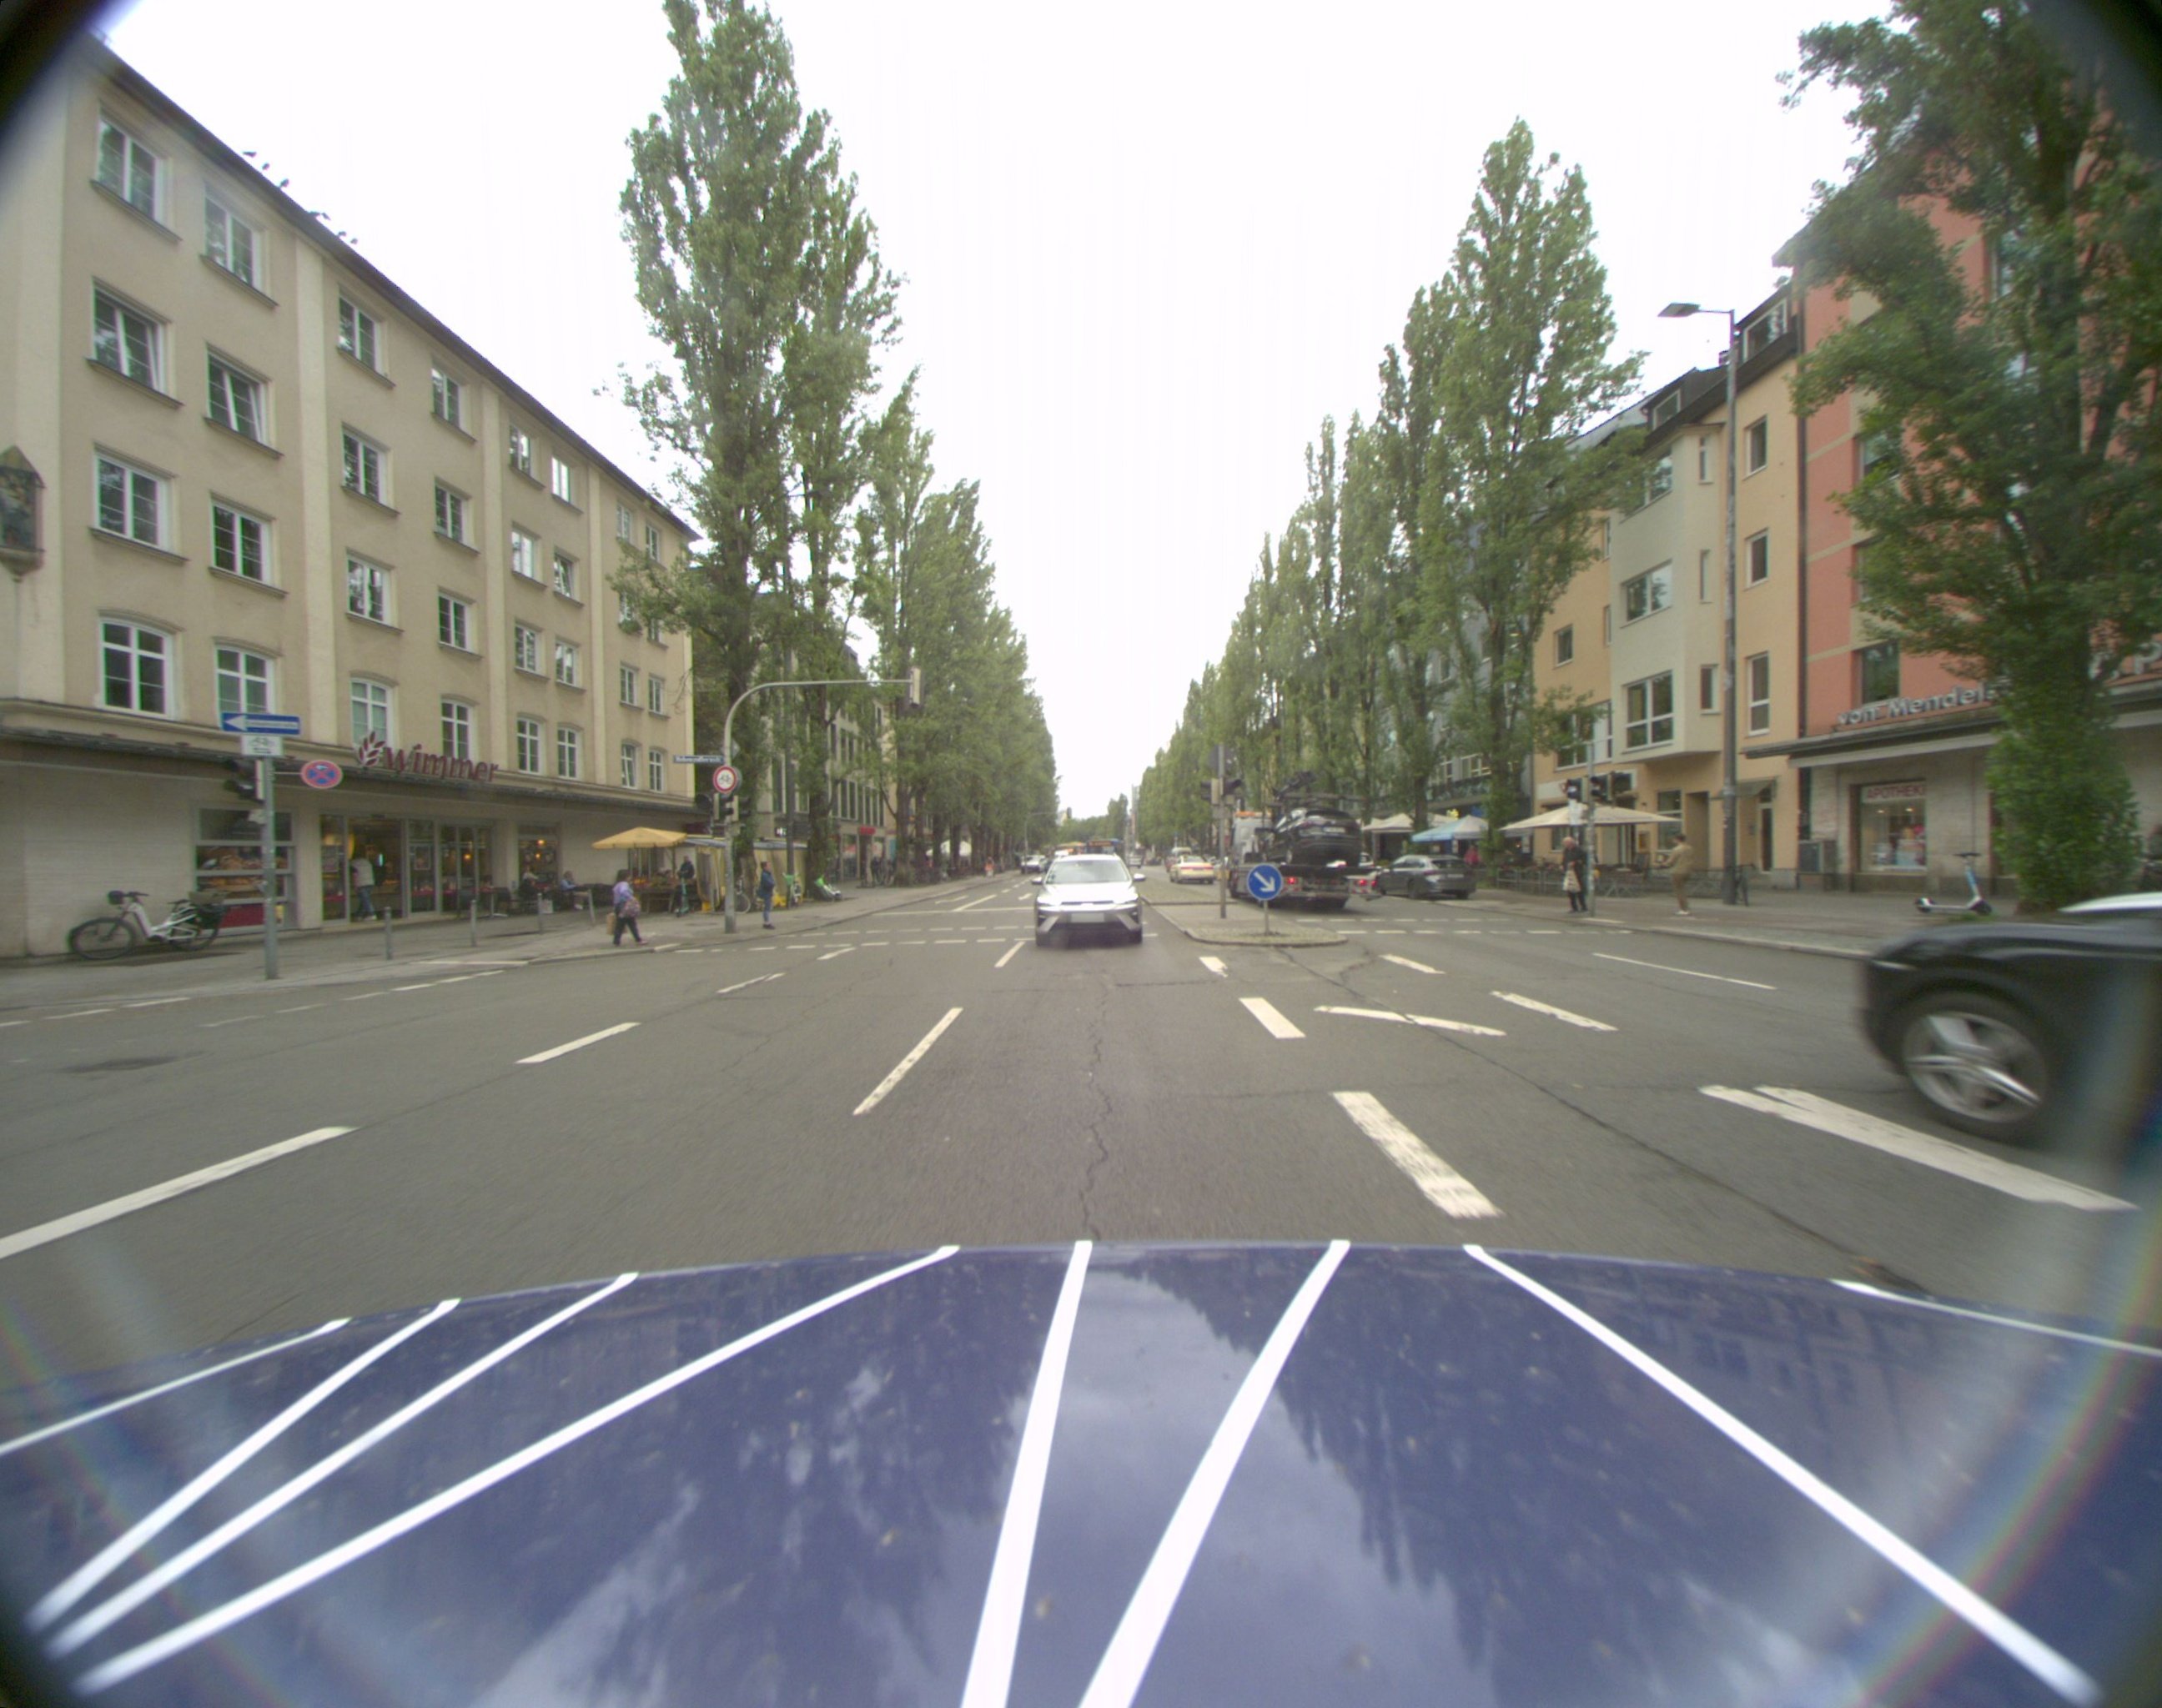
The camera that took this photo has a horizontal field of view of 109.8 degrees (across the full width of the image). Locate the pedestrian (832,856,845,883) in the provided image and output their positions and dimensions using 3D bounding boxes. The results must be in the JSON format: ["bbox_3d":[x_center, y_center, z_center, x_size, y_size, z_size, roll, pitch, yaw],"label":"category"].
[{"bbox_3d":[-15.666,0.994,49.133,0.547,1.757,0.642,-2,1,1],"label":"pedestrian"}]

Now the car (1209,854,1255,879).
[{"bbox_3d":[8.928,0.694,45.175,1.827,1.400,4.632,0,0,0],"label":"car"}]

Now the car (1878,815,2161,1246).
[{"bbox_3d":[5.259,0.696,1.919,1.889,1.736,4.439,-1,0,1],"label":"car"}]

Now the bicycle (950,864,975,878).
[{"bbox_3d":[-8.796,1.266,56.349,1.842,1.003,0.393,0,1,10],"label":"bicycle"}]

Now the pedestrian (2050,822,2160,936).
[{"bbox_3d":[16.432,0.396,12.211,0.726,1.761,0.778,-1,1,2],"label":"pedestrian"}]

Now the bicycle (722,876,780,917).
[{"bbox_3d":[-9.803,1.247,22.614,0.405,1.064,1.813,-6,0,16],"label":"bicycle"}]

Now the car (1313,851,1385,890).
[{"bbox_3d":[11.625,0.664,33.233,1.707,1.574,4.095,0,1,1],"label":"car"}]

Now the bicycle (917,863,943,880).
[{"bbox_3d":[-10.053,1.168,50.450,1.666,1.100,0.396,-1,1,-11],"label":"bicycle"}]

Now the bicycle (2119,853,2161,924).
[{"bbox_3d":[17.628,0.559,12.071,0.422,1.135,1.373,-1,0,2],"label":"bicycle"}]

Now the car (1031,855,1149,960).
[{"bbox_3d":[0.140,0.829,13.775,1.758,1.529,3.916,-3,0,0],"label":"car"}]

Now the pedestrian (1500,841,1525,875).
[{"bbox_3d":[20.452,0.187,36.027,0.742,1.592,0.756,-1,1,2],"label":"pedestrian"}]

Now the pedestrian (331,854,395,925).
[{"bbox_3d":[-17.739,0.862,18.789,0.666,1.693,0.860,-1,3,2],"label":"pedestrian"}]

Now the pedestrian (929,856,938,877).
[{"bbox_3d":[-12.565,1.029,64.619,0.566,1.732,0.697,-2,1,4],"label":"pedestrian"}]

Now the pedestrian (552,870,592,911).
[{"bbox_3d":[-16.481,1.177,24.619,0.777,1.257,0.699,-1,1,1],"label":"pedestrian"}]

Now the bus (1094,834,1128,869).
[{"bbox_3d":[2.851,-0.193,69.680,2.805,2.886,12.860,-1,0,3],"label":"bus"}]

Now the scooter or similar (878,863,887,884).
[{"bbox_3d":[-12.096,1.184,46.249,0.248,1.266,1.036,-1,1,1],"label":"scooter or similar"}]

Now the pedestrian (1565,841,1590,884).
[{"bbox_3d":[19.942,0.336,30.541,0.556,1.708,0.692,-1,1,0],"label":"pedestrian"}]

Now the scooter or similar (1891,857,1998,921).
[{"bbox_3d":[16.658,0.640,14.699,0.408,1.166,1.403,-1,0,-3],"label":"scooter or similar"}]

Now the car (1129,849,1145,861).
[{"bbox_3d":[7.546,0.096,102.288,1.848,1.626,4.575,0,0,1],"label":"car"}]

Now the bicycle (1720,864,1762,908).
[{"bbox_3d":[16.125,0.770,18.600,0.329,0.980,1.814,-1,0,26],"label":"bicycle"}]

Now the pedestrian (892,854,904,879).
[{"bbox_3d":[-13.260,0.895,55.001,0.658,1.774,0.674,-1,1,2],"label":"pedestrian"}]

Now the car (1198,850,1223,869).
[{"bbox_3d":[12.249,0.477,72.139,1.622,1.677,3.770,1,1,-2],"label":"car"}]

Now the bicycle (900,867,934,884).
[{"bbox_3d":[-9.937,1.312,46.021,2.005,0.939,0.286,-1,1,-8],"label":"bicycle"}]

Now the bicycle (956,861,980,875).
[{"bbox_3d":[-9.424,1.149,63.531,1.902,1.120,0.686,-1,0,1],"label":"bicycle"}]

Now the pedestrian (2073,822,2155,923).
[{"bbox_3d":[17.329,0.303,12.757,0.508,1.661,0.626,-1,1,2],"label":"pedestrian"}]

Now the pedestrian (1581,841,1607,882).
[{"bbox_3d":[20.538,0.287,30.417,0.556,1.629,0.692,-1,1,0],"label":"pedestrian"}]

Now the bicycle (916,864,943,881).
[{"bbox_3d":[-9.974,1.221,50.063,1.679,1.111,0.286,-1,1,-12],"label":"bicycle"}]

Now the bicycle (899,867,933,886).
[{"bbox_3d":[-9.906,1.365,45.671,2.005,1.077,0.286,-1,1,-9],"label":"bicycle"}]

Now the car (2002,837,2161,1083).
[{"bbox_3d":[8.405,0.739,3.871,1.842,1.706,4.635,0,0,1],"label":"car"}]

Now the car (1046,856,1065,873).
[{"bbox_3d":[-2.540,1.049,77.147,1.758,1.529,3.916,-3,0,0],"label":"car"}]

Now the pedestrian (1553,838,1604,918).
[{"bbox_3d":[11.588,0.537,17.721,0.736,1.785,0.994,-2,1,19],"label":"pedestrian"}]

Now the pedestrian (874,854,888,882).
[{"bbox_3d":[-13.662,0.938,51.940,0.658,1.840,0.906,-1,1,2],"label":"pedestrian"}]

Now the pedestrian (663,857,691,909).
[{"bbox_3d":[-13.142,0.924,24.734,0.541,1.664,0.537,-1,1,8],"label":"pedestrian"}]

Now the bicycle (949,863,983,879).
[{"bbox_3d":[-9.428,1.411,62.255,2.577,1.208,0.965,-1,0,1],"label":"bicycle"}]

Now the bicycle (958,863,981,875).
[{"bbox_3d":[-9.451,1.296,64.417,1.844,1.003,0.503,-1,1,1],"label":"bicycle"}]

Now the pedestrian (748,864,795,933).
[{"bbox_3d":[-7.421,1.041,18.225,0.767,1.600,0.864,-1,1,-3],"label":"pedestrian"}]

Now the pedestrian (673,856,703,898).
[{"bbox_3d":[-15.136,0.872,29.276,0.777,1.580,0.699,-1,1,1],"label":"pedestrian"}]

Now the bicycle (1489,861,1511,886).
[{"bbox_3d":[16.435,0.751,29.786,0.324,0.953,1.538,-1,1,44],"label":"bicycle"}]

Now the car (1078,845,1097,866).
[{"bbox_3d":[0.702,0.184,87.952,2.025,2.235,4.410,-3,0,0],"label":"car"}]

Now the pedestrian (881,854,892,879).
[{"bbox_3d":[-14.057,0.892,54.818,0.566,1.774,0.674,-1,1,2],"label":"pedestrian"}]

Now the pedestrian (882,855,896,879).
[{"bbox_3d":[-14.786,0.982,58.576,0.753,1.843,0.821,-2,1,2],"label":"pedestrian"}]

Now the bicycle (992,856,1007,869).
[{"bbox_3d":[-9.108,0.983,84.778,0.829,1.403,2.594,-2,0,-25],"label":"bicycle"}]

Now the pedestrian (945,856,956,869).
[{"bbox_3d":[-13.135,0.838,76.350,0.775,1.209,1.023,-2,0,4],"label":"pedestrian"}]

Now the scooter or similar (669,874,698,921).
[{"bbox_3d":[-11.015,1.187,21.070,0.408,1.236,1.370,-2,0,-15],"label":"scooter or similar"}]

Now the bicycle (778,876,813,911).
[{"bbox_3d":[-9.447,1.279,25.178,0.510,1.042,1.770,-1,0,-1],"label":"bicycle"}]

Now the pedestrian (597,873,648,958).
[{"bbox_3d":[-8.795,1.156,14.574,0.767,1.509,0.620,1,4,45],"label":"pedestrian"}]

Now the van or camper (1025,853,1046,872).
[{"bbox_3d":[-4.785,0.856,79.903,1.795,1.894,4.566,-2,0,1],"label":"van or camper"}]

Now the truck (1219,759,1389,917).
[{"bbox_3d":[5.981,-0.408,21.964,2.469,3.649,8.438,-1,1,1],"label":"truck"}]

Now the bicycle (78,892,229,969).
[{"bbox_3d":[-16.574,1.329,13.656,0.435,1.164,1.811,-3,1,-1],"label":"bicycle"}]

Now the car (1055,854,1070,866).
[{"bbox_3d":[-2.102,0.702,87.946,1.476,1.389,3.483,-1,0,1],"label":"car"}]

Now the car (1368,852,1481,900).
[{"bbox_3d":[11.465,0.685,25.738,1.707,1.430,4.589,0,1,0],"label":"car"}]

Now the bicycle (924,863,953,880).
[{"bbox_3d":[-9.657,1.175,51.535,1.871,1.129,0.339,-1,1,-8],"label":"bicycle"}]

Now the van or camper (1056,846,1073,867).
[{"bbox_3d":[-2.215,0.316,103.953,1.998,2.472,6.640,-2,3,1],"label":"van or camper"}]

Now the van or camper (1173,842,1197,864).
[{"bbox_3d":[12.627,-0.105,92.478,2.131,2.535,6.644,-1,0,1],"label":"van or camper"}]

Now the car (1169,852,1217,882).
[{"bbox_3d":[5.936,0.634,40.685,1.848,1.493,4.986,0,0,0],"label":"car"}]

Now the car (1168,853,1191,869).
[{"bbox_3d":[9.116,0.600,70.579,1.741,1.429,3.823,0,1,1],"label":"car"}]

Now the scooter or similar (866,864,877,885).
[{"bbox_3d":[-12.673,1.222,46.065,0.331,1.266,1.036,-1,1,1],"label":"scooter or similar"}]

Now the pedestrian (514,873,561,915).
[{"bbox_3d":[-16.420,1.196,22.962,0.870,1.192,0.699,3,1,1],"label":"pedestrian"}]

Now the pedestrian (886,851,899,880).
[{"bbox_3d":[-12.957,0.789,52.208,0.658,1.959,0.722,-1,0,3],"label":"pedestrian"}]

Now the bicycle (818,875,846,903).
[{"bbox_3d":[-9.478,1.324,28.968,0.510,0.970,1.770,-1,0,-1],"label":"bicycle"}]
